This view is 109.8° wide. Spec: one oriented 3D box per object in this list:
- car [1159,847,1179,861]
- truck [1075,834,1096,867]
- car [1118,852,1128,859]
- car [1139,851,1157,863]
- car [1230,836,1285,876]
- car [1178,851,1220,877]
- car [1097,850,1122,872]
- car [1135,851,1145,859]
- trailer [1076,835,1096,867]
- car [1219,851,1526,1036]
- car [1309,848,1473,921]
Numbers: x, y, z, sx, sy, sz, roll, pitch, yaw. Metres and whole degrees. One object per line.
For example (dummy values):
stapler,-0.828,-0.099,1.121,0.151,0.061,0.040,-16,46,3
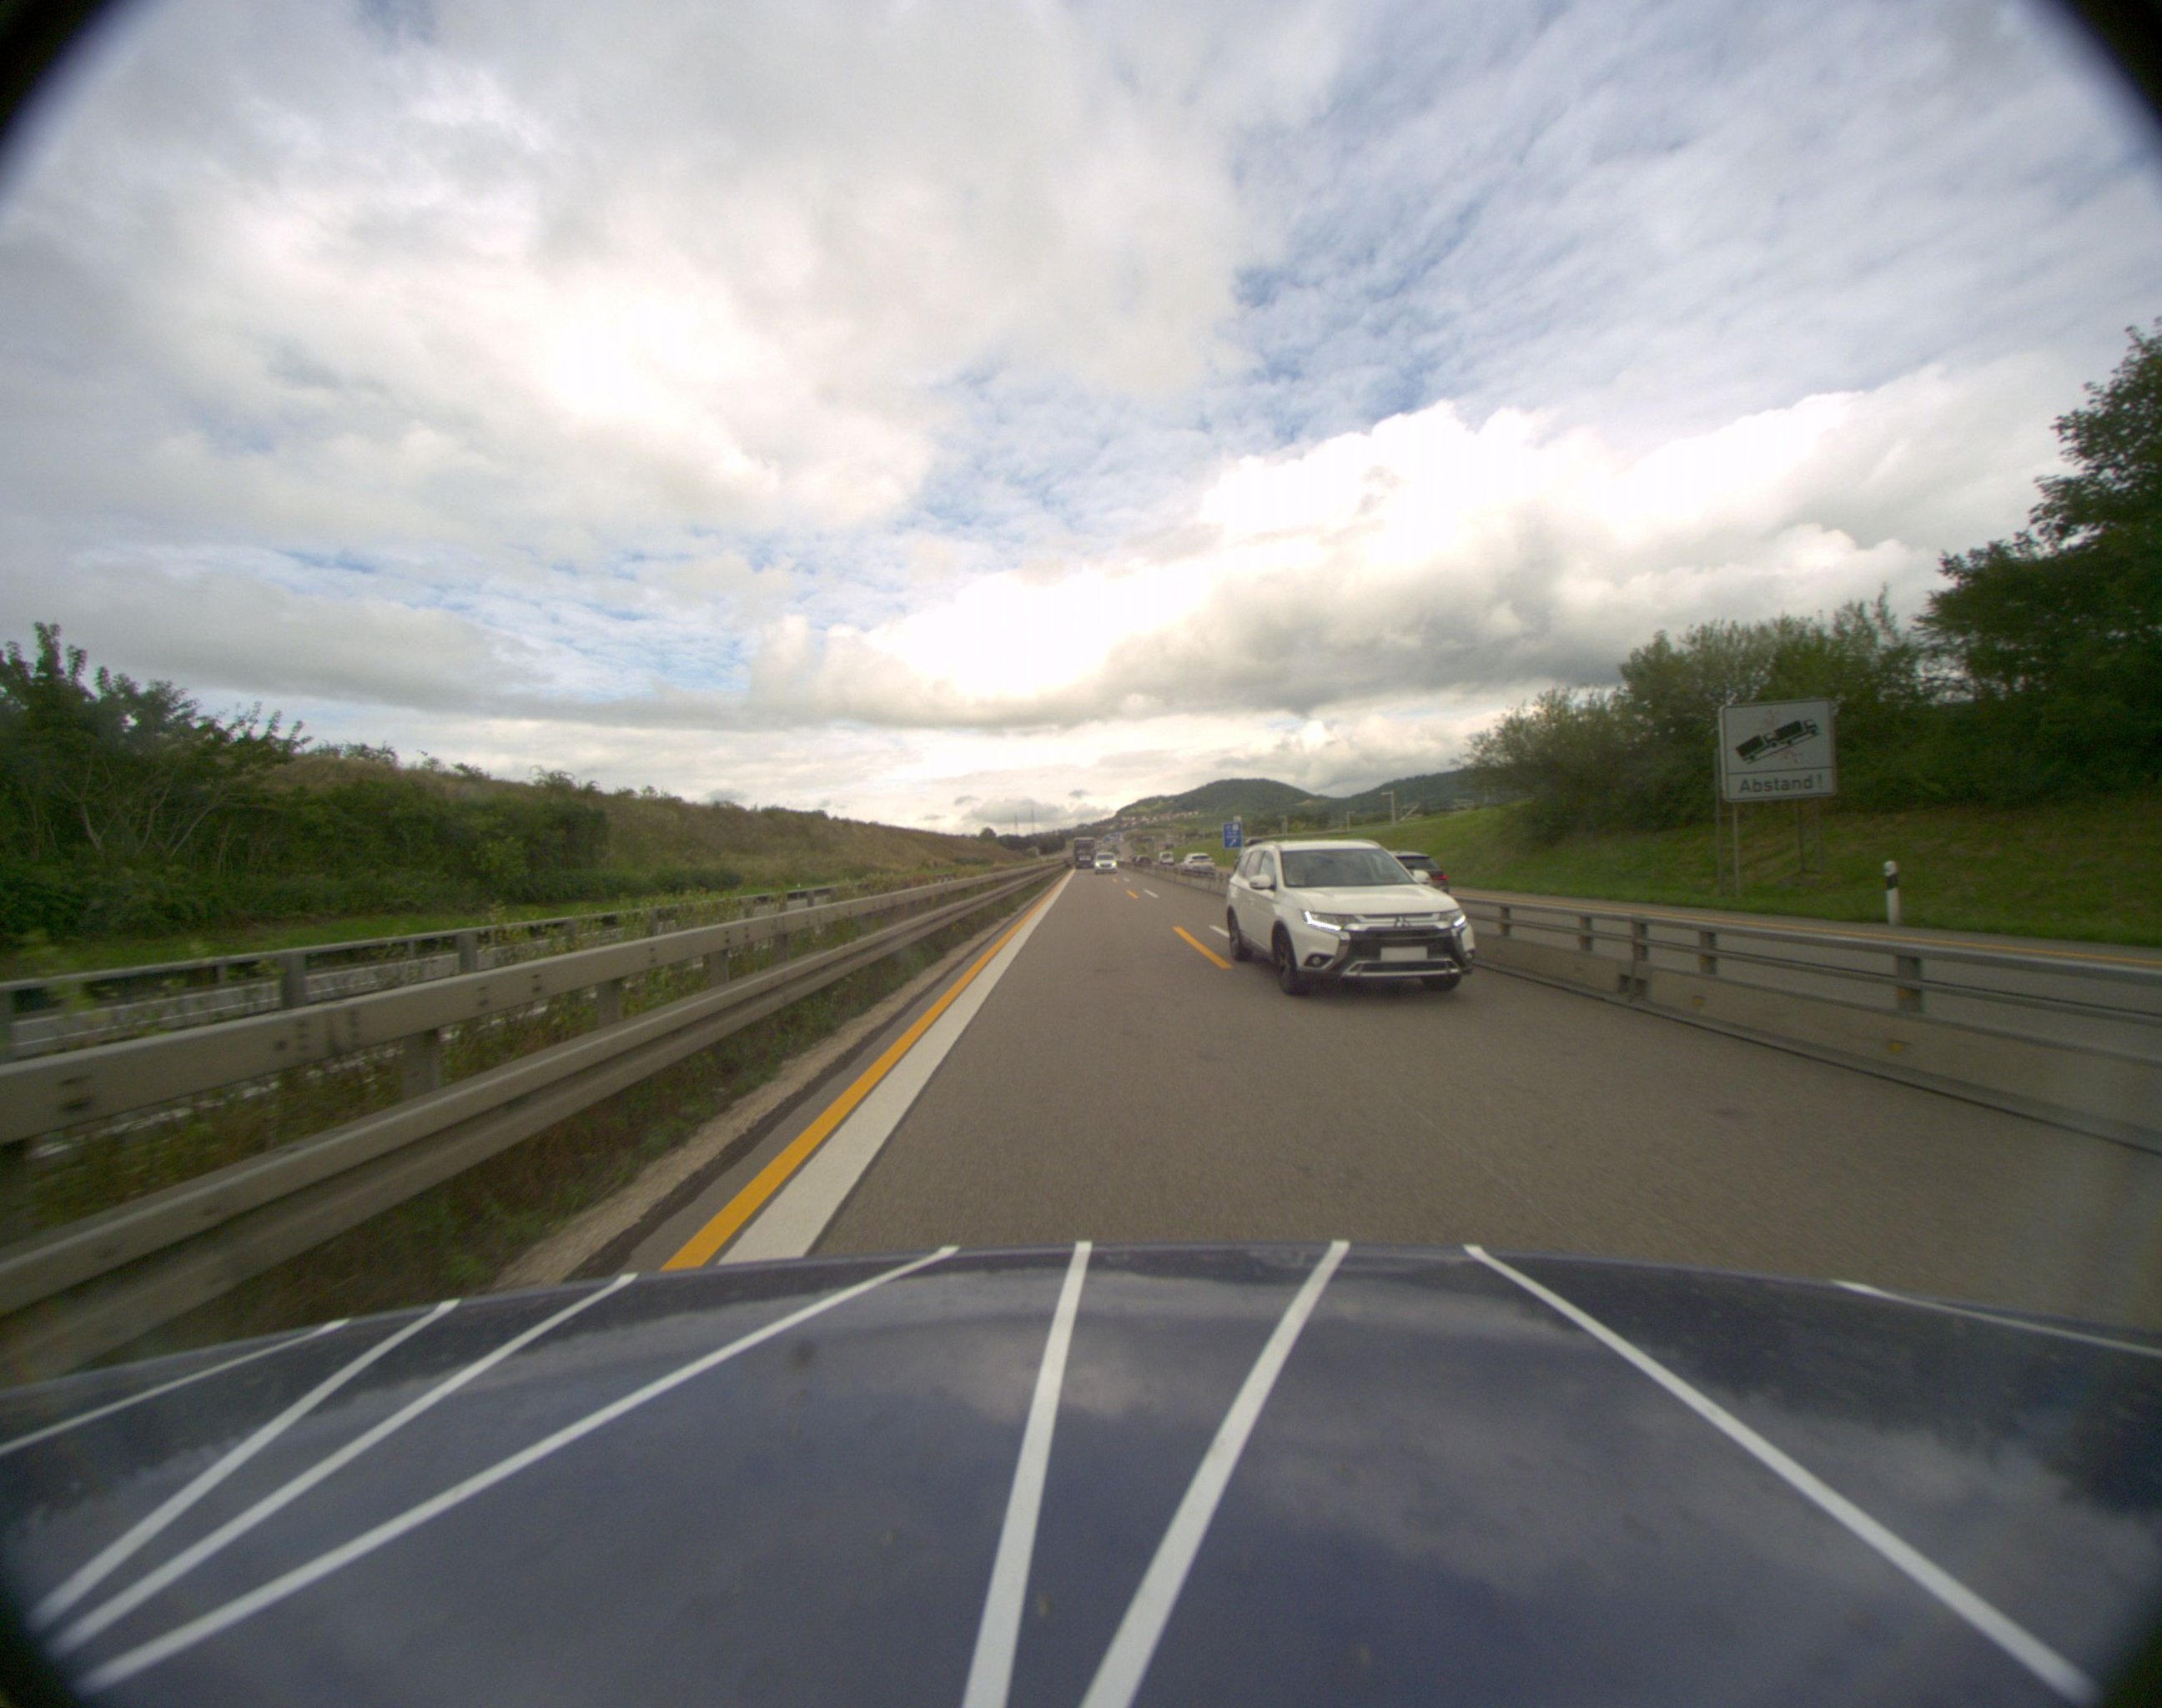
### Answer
car,11.474,-0.010,99.397,1.999,1.781,4.933,-2,0,0
truck,0.649,-0.435,100.219,2.521,4.081,5.685,-2,1,1
car,8.207,0.243,149.605,1.761,1.380,4.327,-3,0,2
car,8.339,0.341,94.482,1.941,1.460,4.589,-2,0,1
car,10.658,0.094,46.231,1.999,2.239,5.049,-2,0,-1
car,7.585,0.610,49.406,1.998,1.512,4.669,-2,0,0
car,2.495,0.617,67.774,1.991,1.787,4.585,-2,0,1
car,11.883,0.166,153.140,1.761,1.380,4.000,-2,0,2
trailer,0.750,-0.473,105.471,2.521,4.081,11.113,-2,0,1
car,3.038,0.799,9.133,1.998,1.618,4.607,-2,0,2
car,7.375,0.649,18.725,1.998,1.512,4.953,-2,0,0
